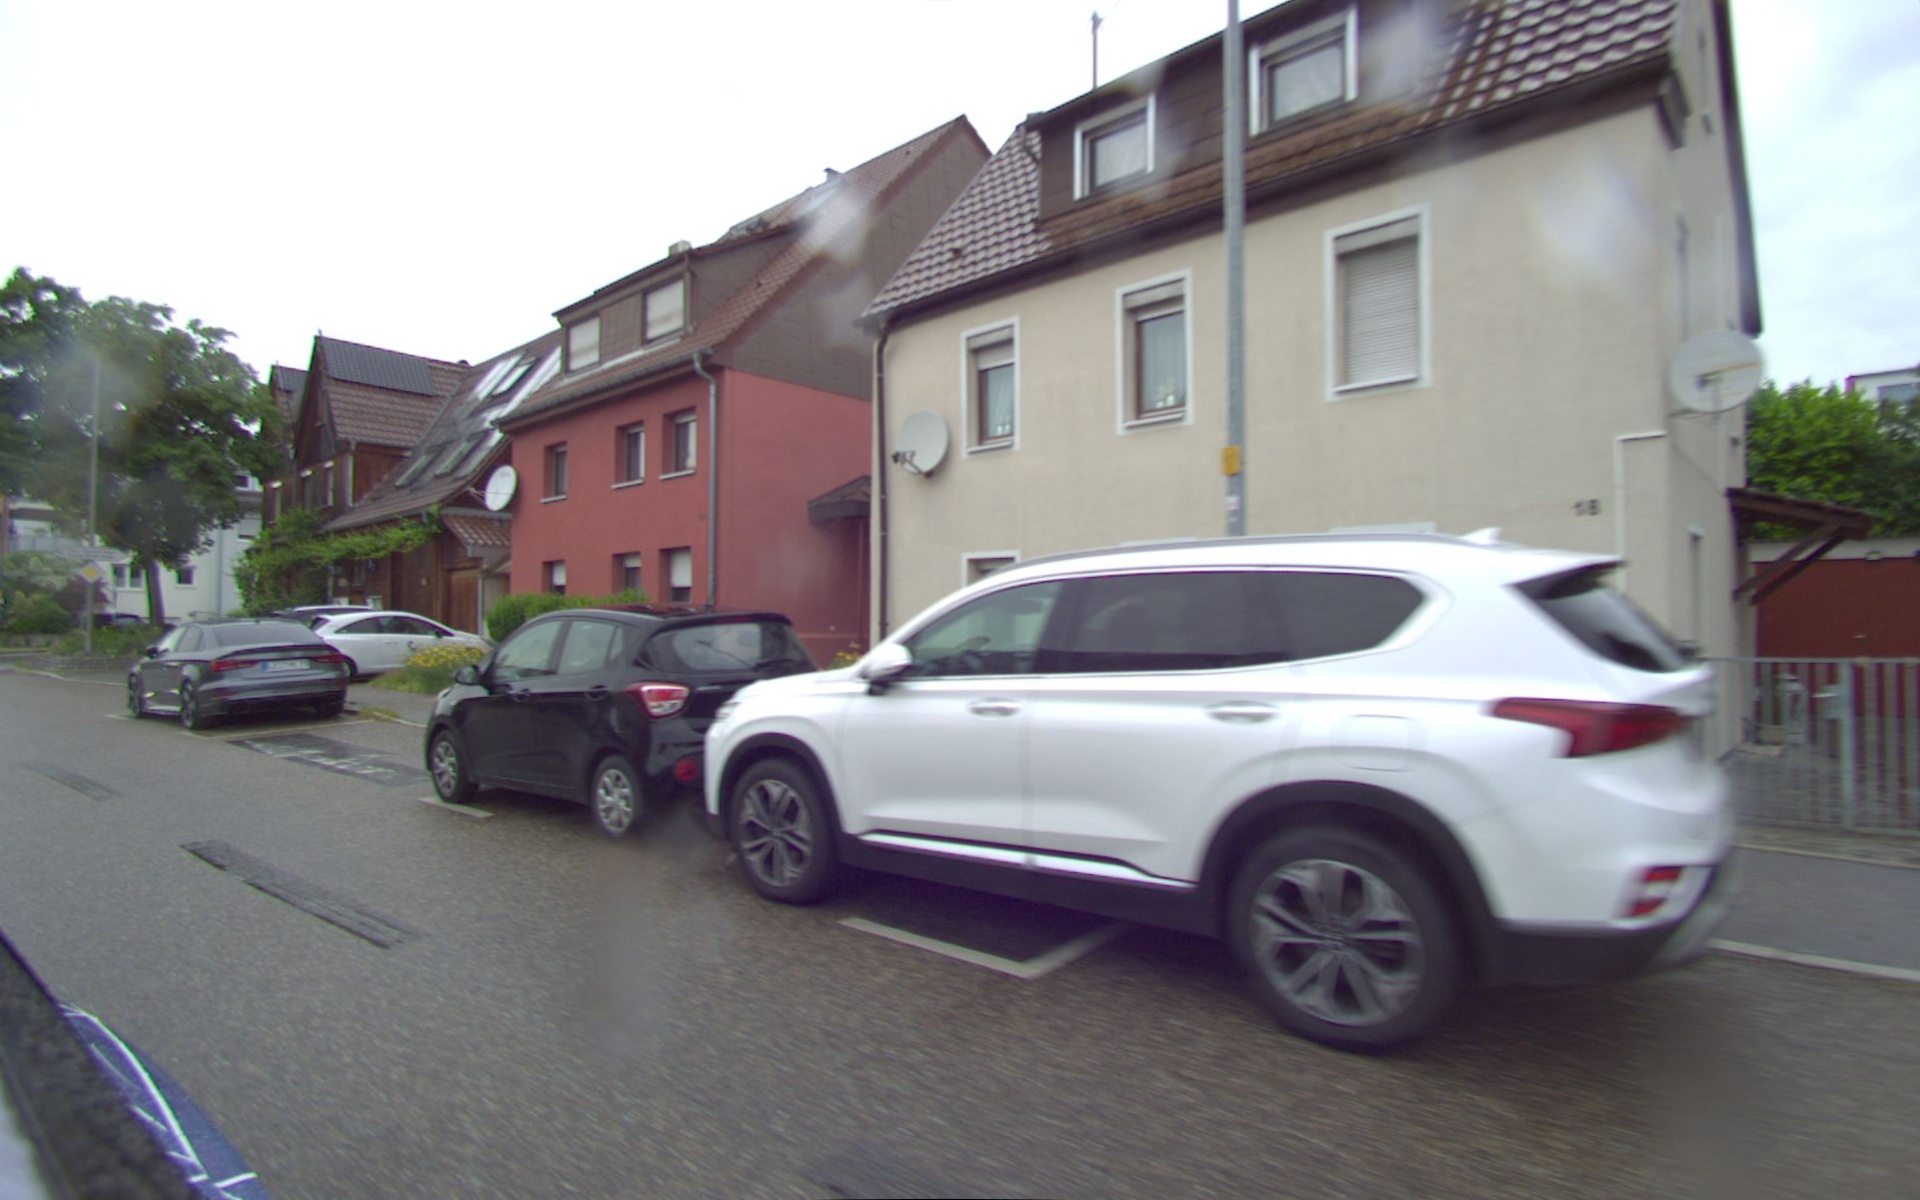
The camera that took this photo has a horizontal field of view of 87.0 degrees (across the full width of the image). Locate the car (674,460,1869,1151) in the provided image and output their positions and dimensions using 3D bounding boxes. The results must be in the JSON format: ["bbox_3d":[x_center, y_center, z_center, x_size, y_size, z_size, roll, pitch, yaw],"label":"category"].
[{"bbox_3d":[0.857,0.529,4.545,4.650,1.631,1.747,-1,-2,39],"label":"car"}]

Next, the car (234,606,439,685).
[{"bbox_3d":[-13.894,0.960,22.651,1.856,1.517,3.536,-1,0,44],"label":"car"}]

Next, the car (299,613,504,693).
[{"bbox_3d":[-11.578,1.039,21.118,1.590,1.490,3.424,-1,-1,42],"label":"car"}]

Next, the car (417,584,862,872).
[{"bbox_3d":[-2.433,0.762,7.403,3.273,1.630,1.589,-1,-2,40],"label":"car"}]

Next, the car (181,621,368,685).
[{"bbox_3d":[-16.328,1.220,24.203,1.632,1.429,3.409,-1,-2,42],"label":"car"}]

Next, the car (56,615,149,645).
[{"bbox_3d":[-41.577,1.452,49.099,3.594,1.432,1.768,0,-2,16],"label":"car"}]

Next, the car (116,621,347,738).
[{"bbox_3d":[-10.280,0.999,14.166,4.106,1.366,1.611,-1,0,39],"label":"car"}]
